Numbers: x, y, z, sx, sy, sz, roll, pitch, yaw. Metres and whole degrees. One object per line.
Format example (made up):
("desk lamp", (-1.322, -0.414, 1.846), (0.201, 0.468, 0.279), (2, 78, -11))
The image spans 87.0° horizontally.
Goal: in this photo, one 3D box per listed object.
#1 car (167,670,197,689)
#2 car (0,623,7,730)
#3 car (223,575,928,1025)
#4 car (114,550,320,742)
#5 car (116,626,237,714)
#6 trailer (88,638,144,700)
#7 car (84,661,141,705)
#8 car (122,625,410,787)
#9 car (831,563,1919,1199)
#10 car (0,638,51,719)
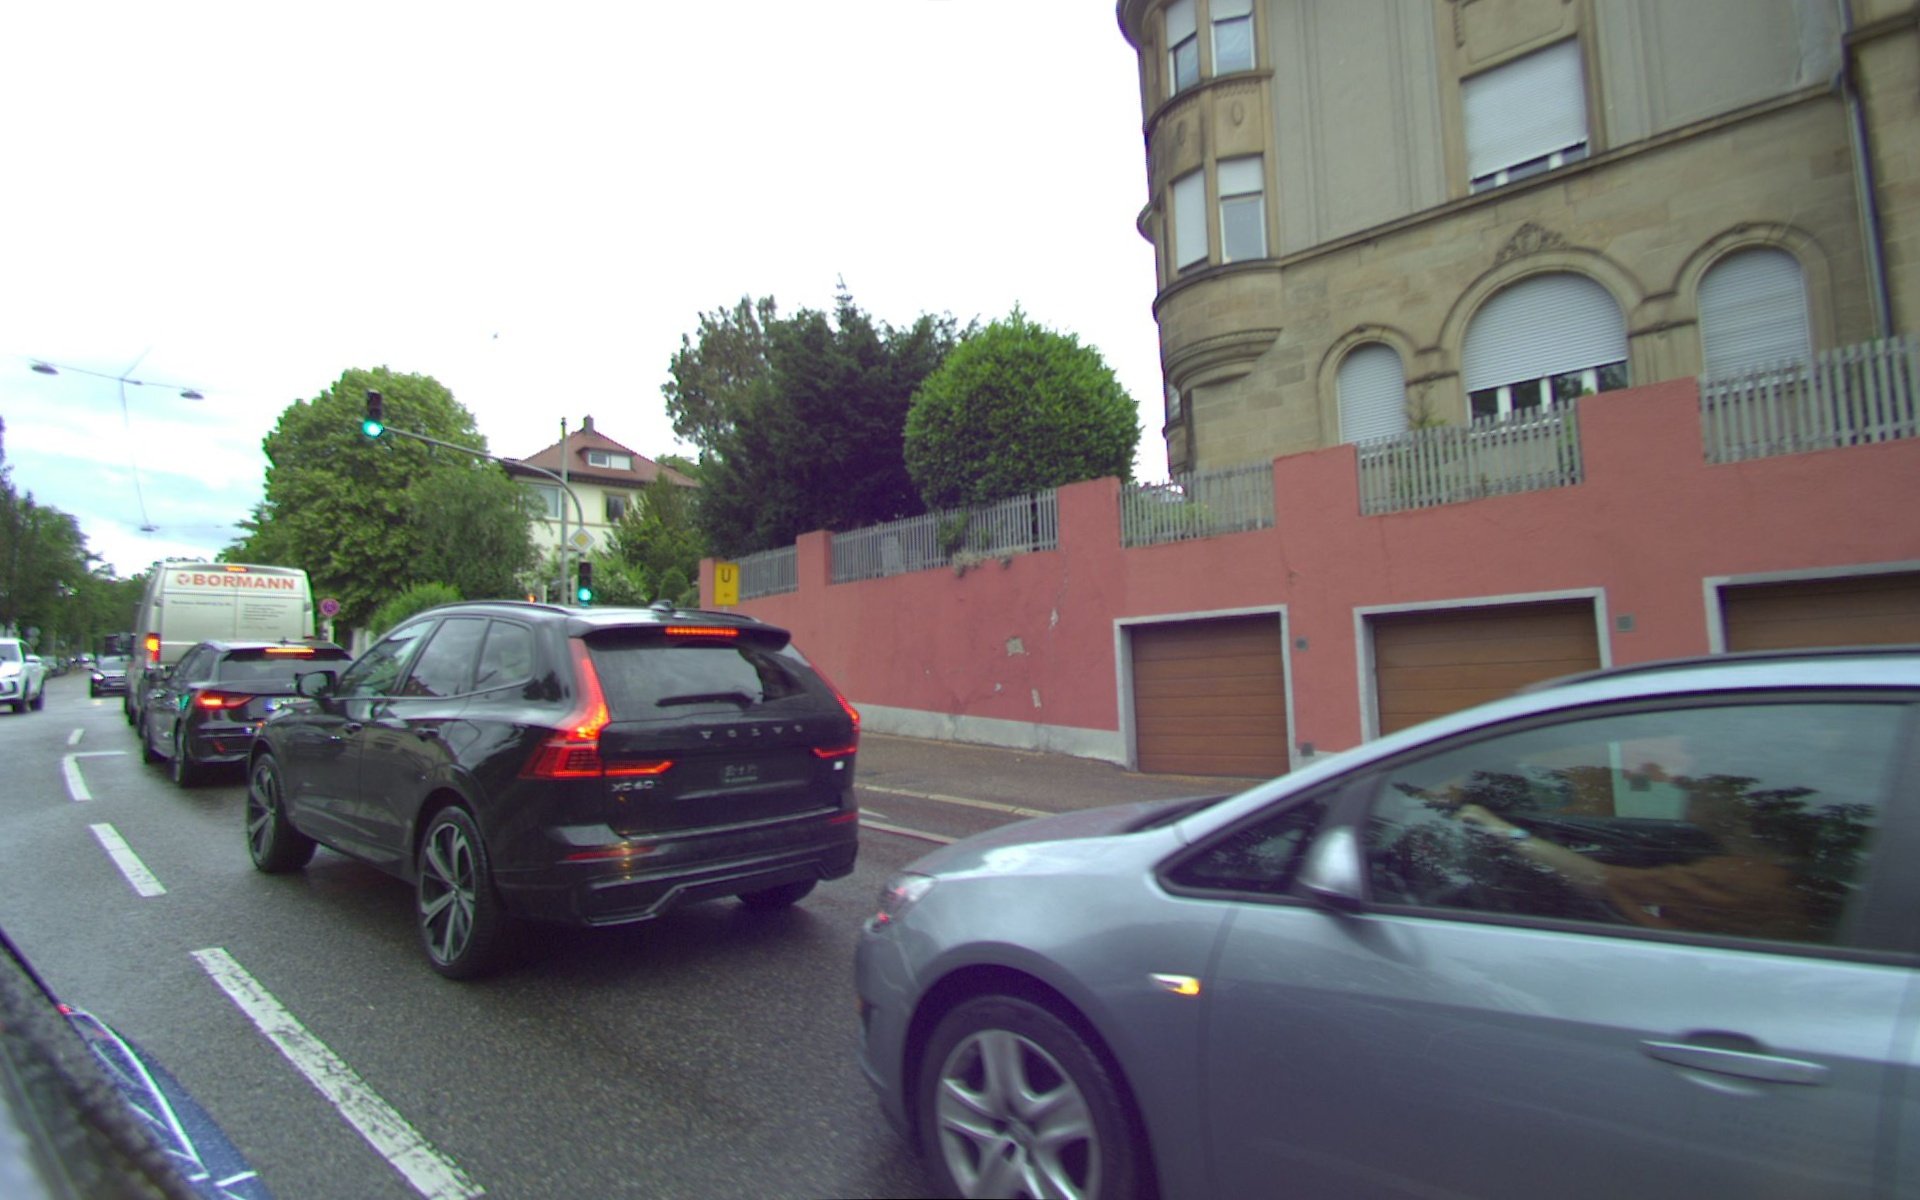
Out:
("car", (-66.483, 6.801, 86.505), (1.828, 1.497, 5.379), (3, -6, -36))
("car", (-11.424, 1.027, 10.669), (1.759, 1.654, 4.205), (3, -5, -41))
("car", (-2.488, 0.818, 5.831), (4.584, 1.587, 1.855), (-2, -5, 42))
("car", (-12.092, 0.759, 16.290), (2.091, 2.565, 5.547), (4, -4, -41))
("car", (-16.755, 1.480, 21.562), (1.799, 1.665, 4.352), (2, -4, -41))
("trailer", (-37.387, 3.015, 44.886), (1.743, 2.645, 3.038), (1, -2, -38))
("car", (-35.383, 3.427, 42.318), (1.709, 1.632, 3.482), (1, -2, -38))
("car", (-7.702, 1.059, 11.083), (4.001, 1.441, 1.794), (-2, -5, 44))
("car", (1.860, 0.752, 2.000), (4.259, 1.509, 1.756), (-2, -4, 40))
("car", (-21.019, 1.669, 22.025), (1.759, 1.654, 4.205), (4, -5, -42))
